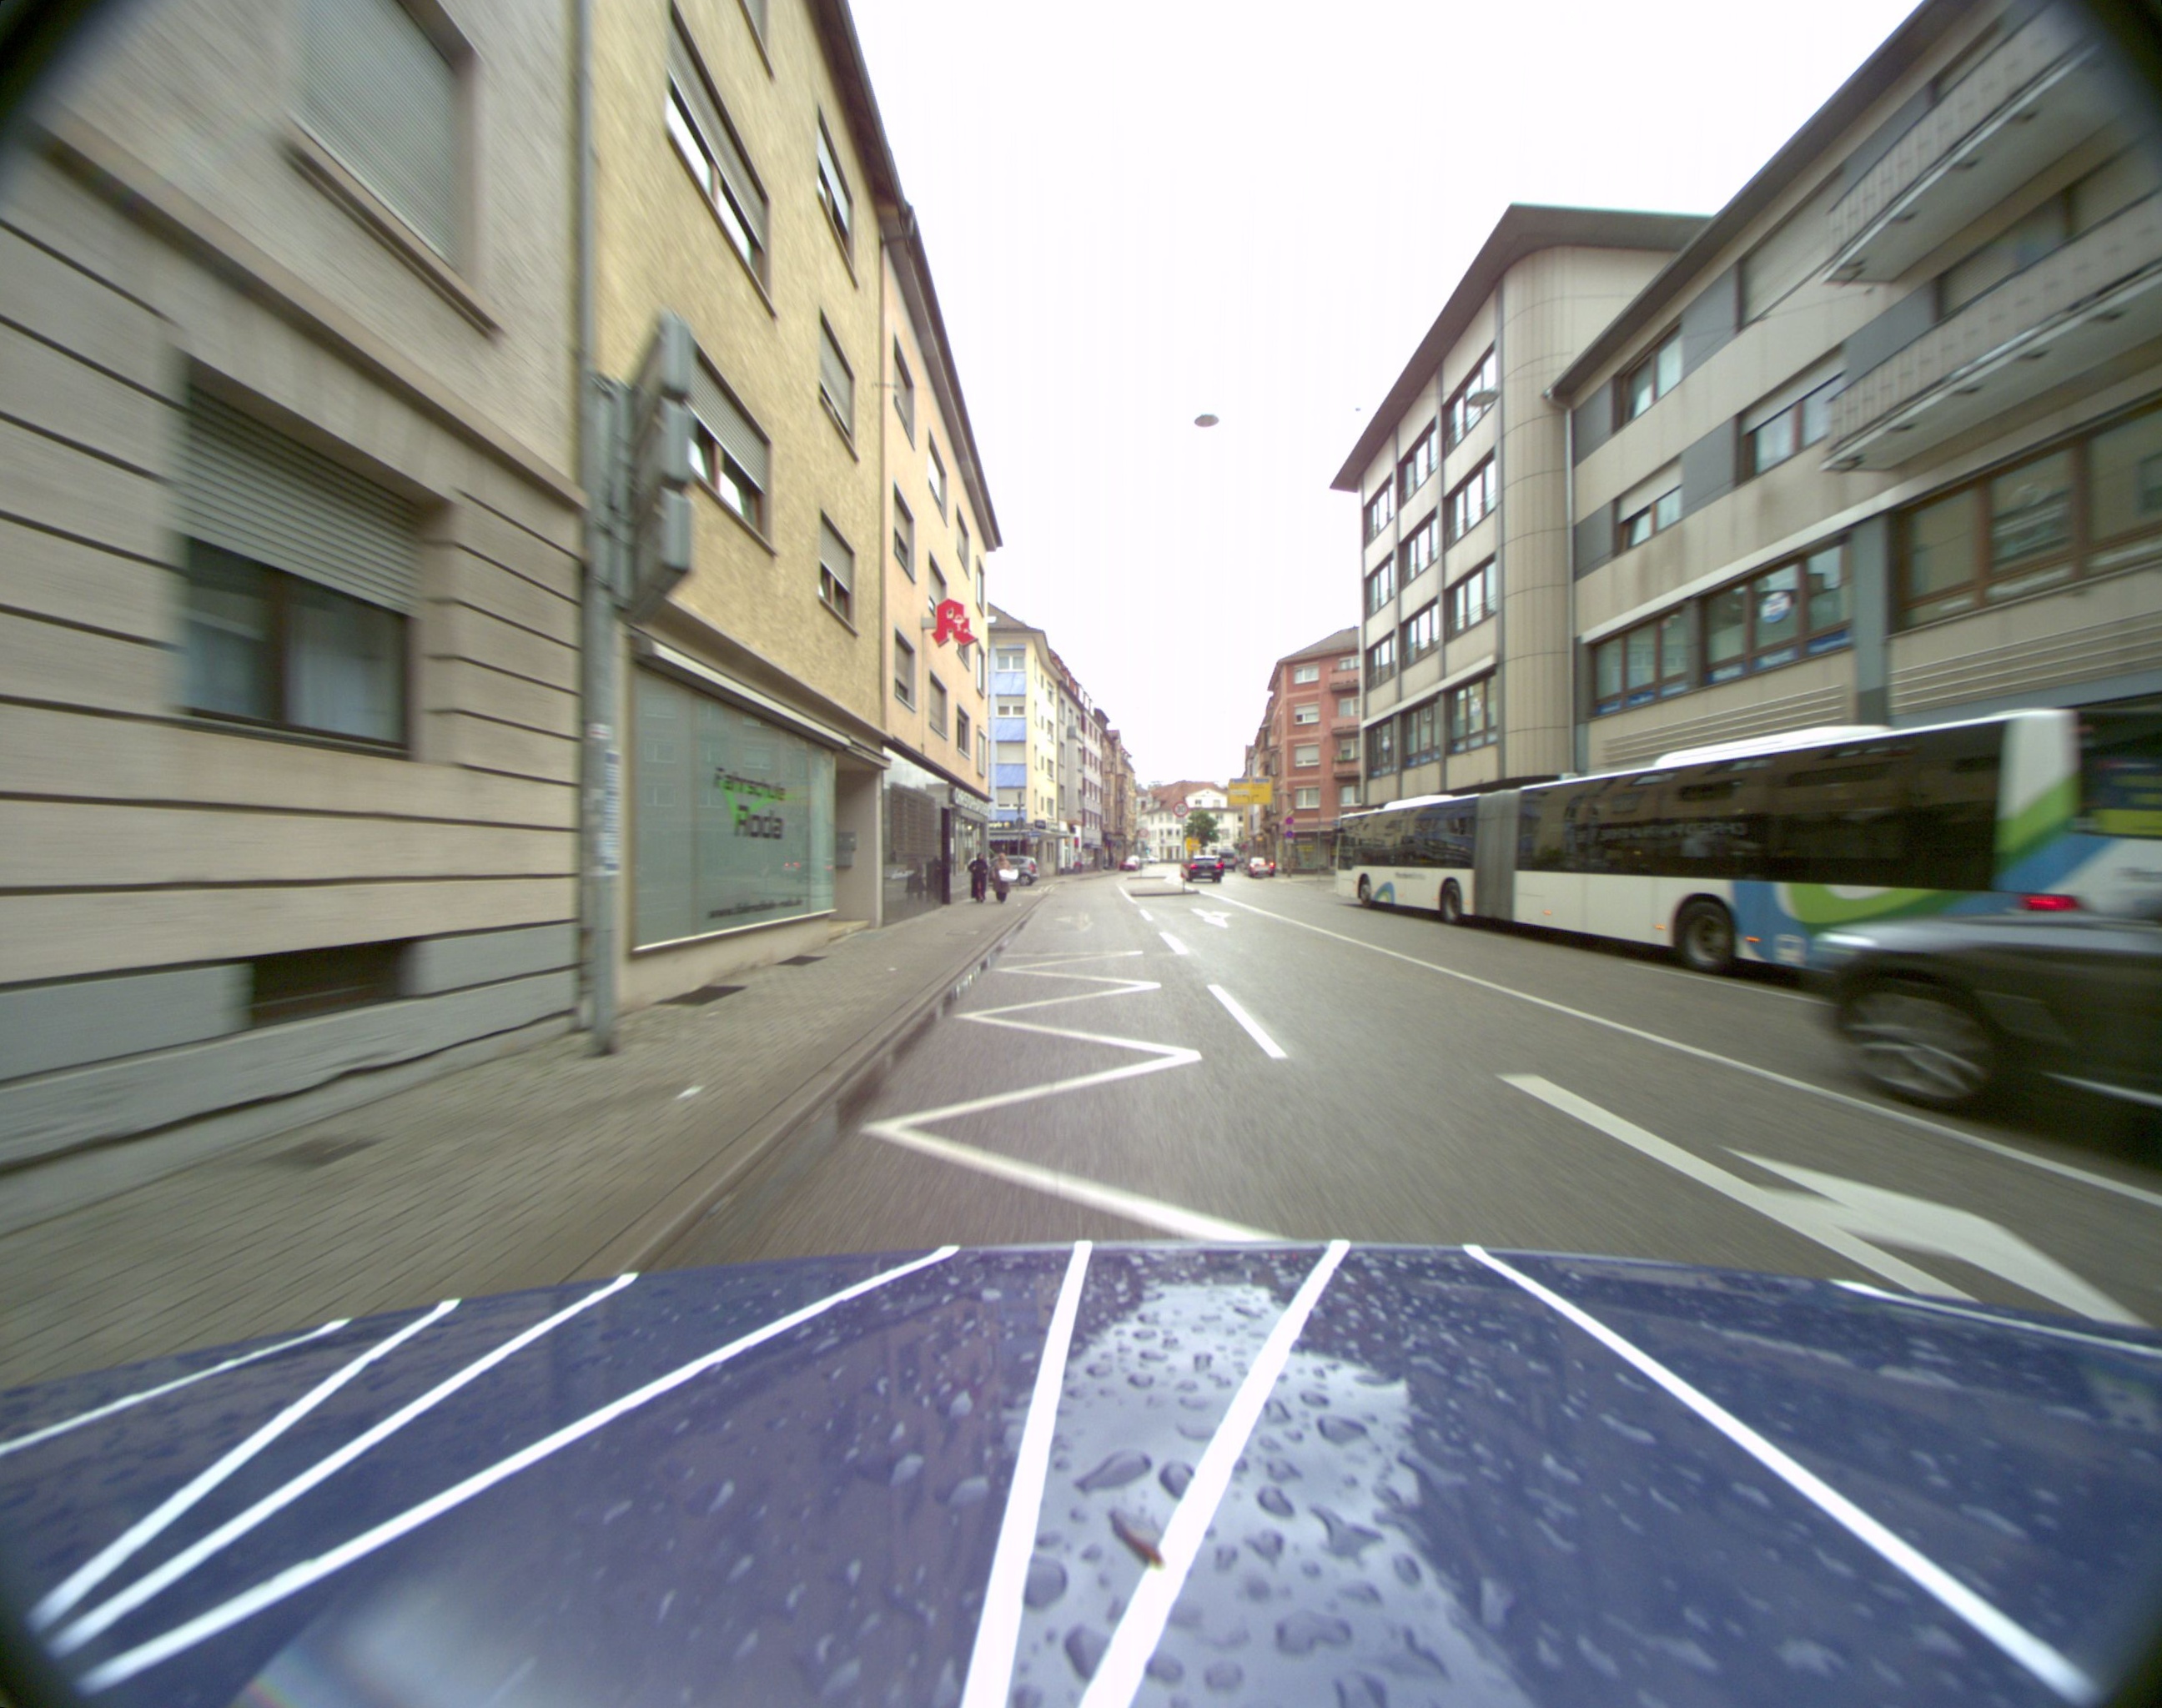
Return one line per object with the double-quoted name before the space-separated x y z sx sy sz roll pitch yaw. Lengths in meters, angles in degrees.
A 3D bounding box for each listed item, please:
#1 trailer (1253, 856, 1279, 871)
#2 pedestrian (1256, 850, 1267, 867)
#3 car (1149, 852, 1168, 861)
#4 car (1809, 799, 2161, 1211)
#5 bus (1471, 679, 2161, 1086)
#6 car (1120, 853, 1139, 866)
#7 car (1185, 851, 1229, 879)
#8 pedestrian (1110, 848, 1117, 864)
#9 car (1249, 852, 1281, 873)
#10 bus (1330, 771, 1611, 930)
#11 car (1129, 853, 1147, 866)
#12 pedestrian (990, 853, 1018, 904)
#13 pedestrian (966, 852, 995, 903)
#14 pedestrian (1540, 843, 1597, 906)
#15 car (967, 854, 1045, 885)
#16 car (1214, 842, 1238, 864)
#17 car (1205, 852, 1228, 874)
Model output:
"trailer" 12.754 0.637 52.360 1.590 0.944 3.059 -1 0 11
"pedestrian" 18.236 0.439 76.694 0.845 1.669 0.853 -3 1 -3
"car" 14.063 0.476 138.183 1.950 1.462 4.554 0 1 -13
"car" 5.561 0.648 2.474 1.936 1.747 4.572 0 1 -1
"bus" 9.125 0.175 10.555 2.732 3.170 9.292 0 1 1
"car" 5.384 0.605 83.821 1.747 1.361 4.318 0 0 9
"car" 6.773 0.566 41.215 1.713 1.443 4.085 0 1 0
"pedestrian" 3.639 0.237 84.235 0.745 1.769 0.796 0 1 7
"car" 13.558 0.588 56.281 1.853 1.389 4.796 -3 0 9
"bus" 9.254 -0.115 19.662 2.765 3.170 8.911 0 1 1
"car" 6.910 0.609 91.793 1.650 1.485 4.451 0 1 10
"pedestrian" -2.390 0.746 23.677 0.780 1.551 0.782 0 1 -1
"pedestrian" -3.112 0.707 23.616 0.770 1.551 0.876 0 1 -1
"pedestrian" 12.596 0.510 19.652 0.947 1.580 0.834 0 1 3
"car" -3.978 0.805 40.607 3.833 1.565 1.937 0 1 6
"car" 16.167 -0.154 84.765 2.090 2.421 6.355 0 1 6
"car" 10.833 0.725 60.901 1.746 1.652 4.421 0 0 10
